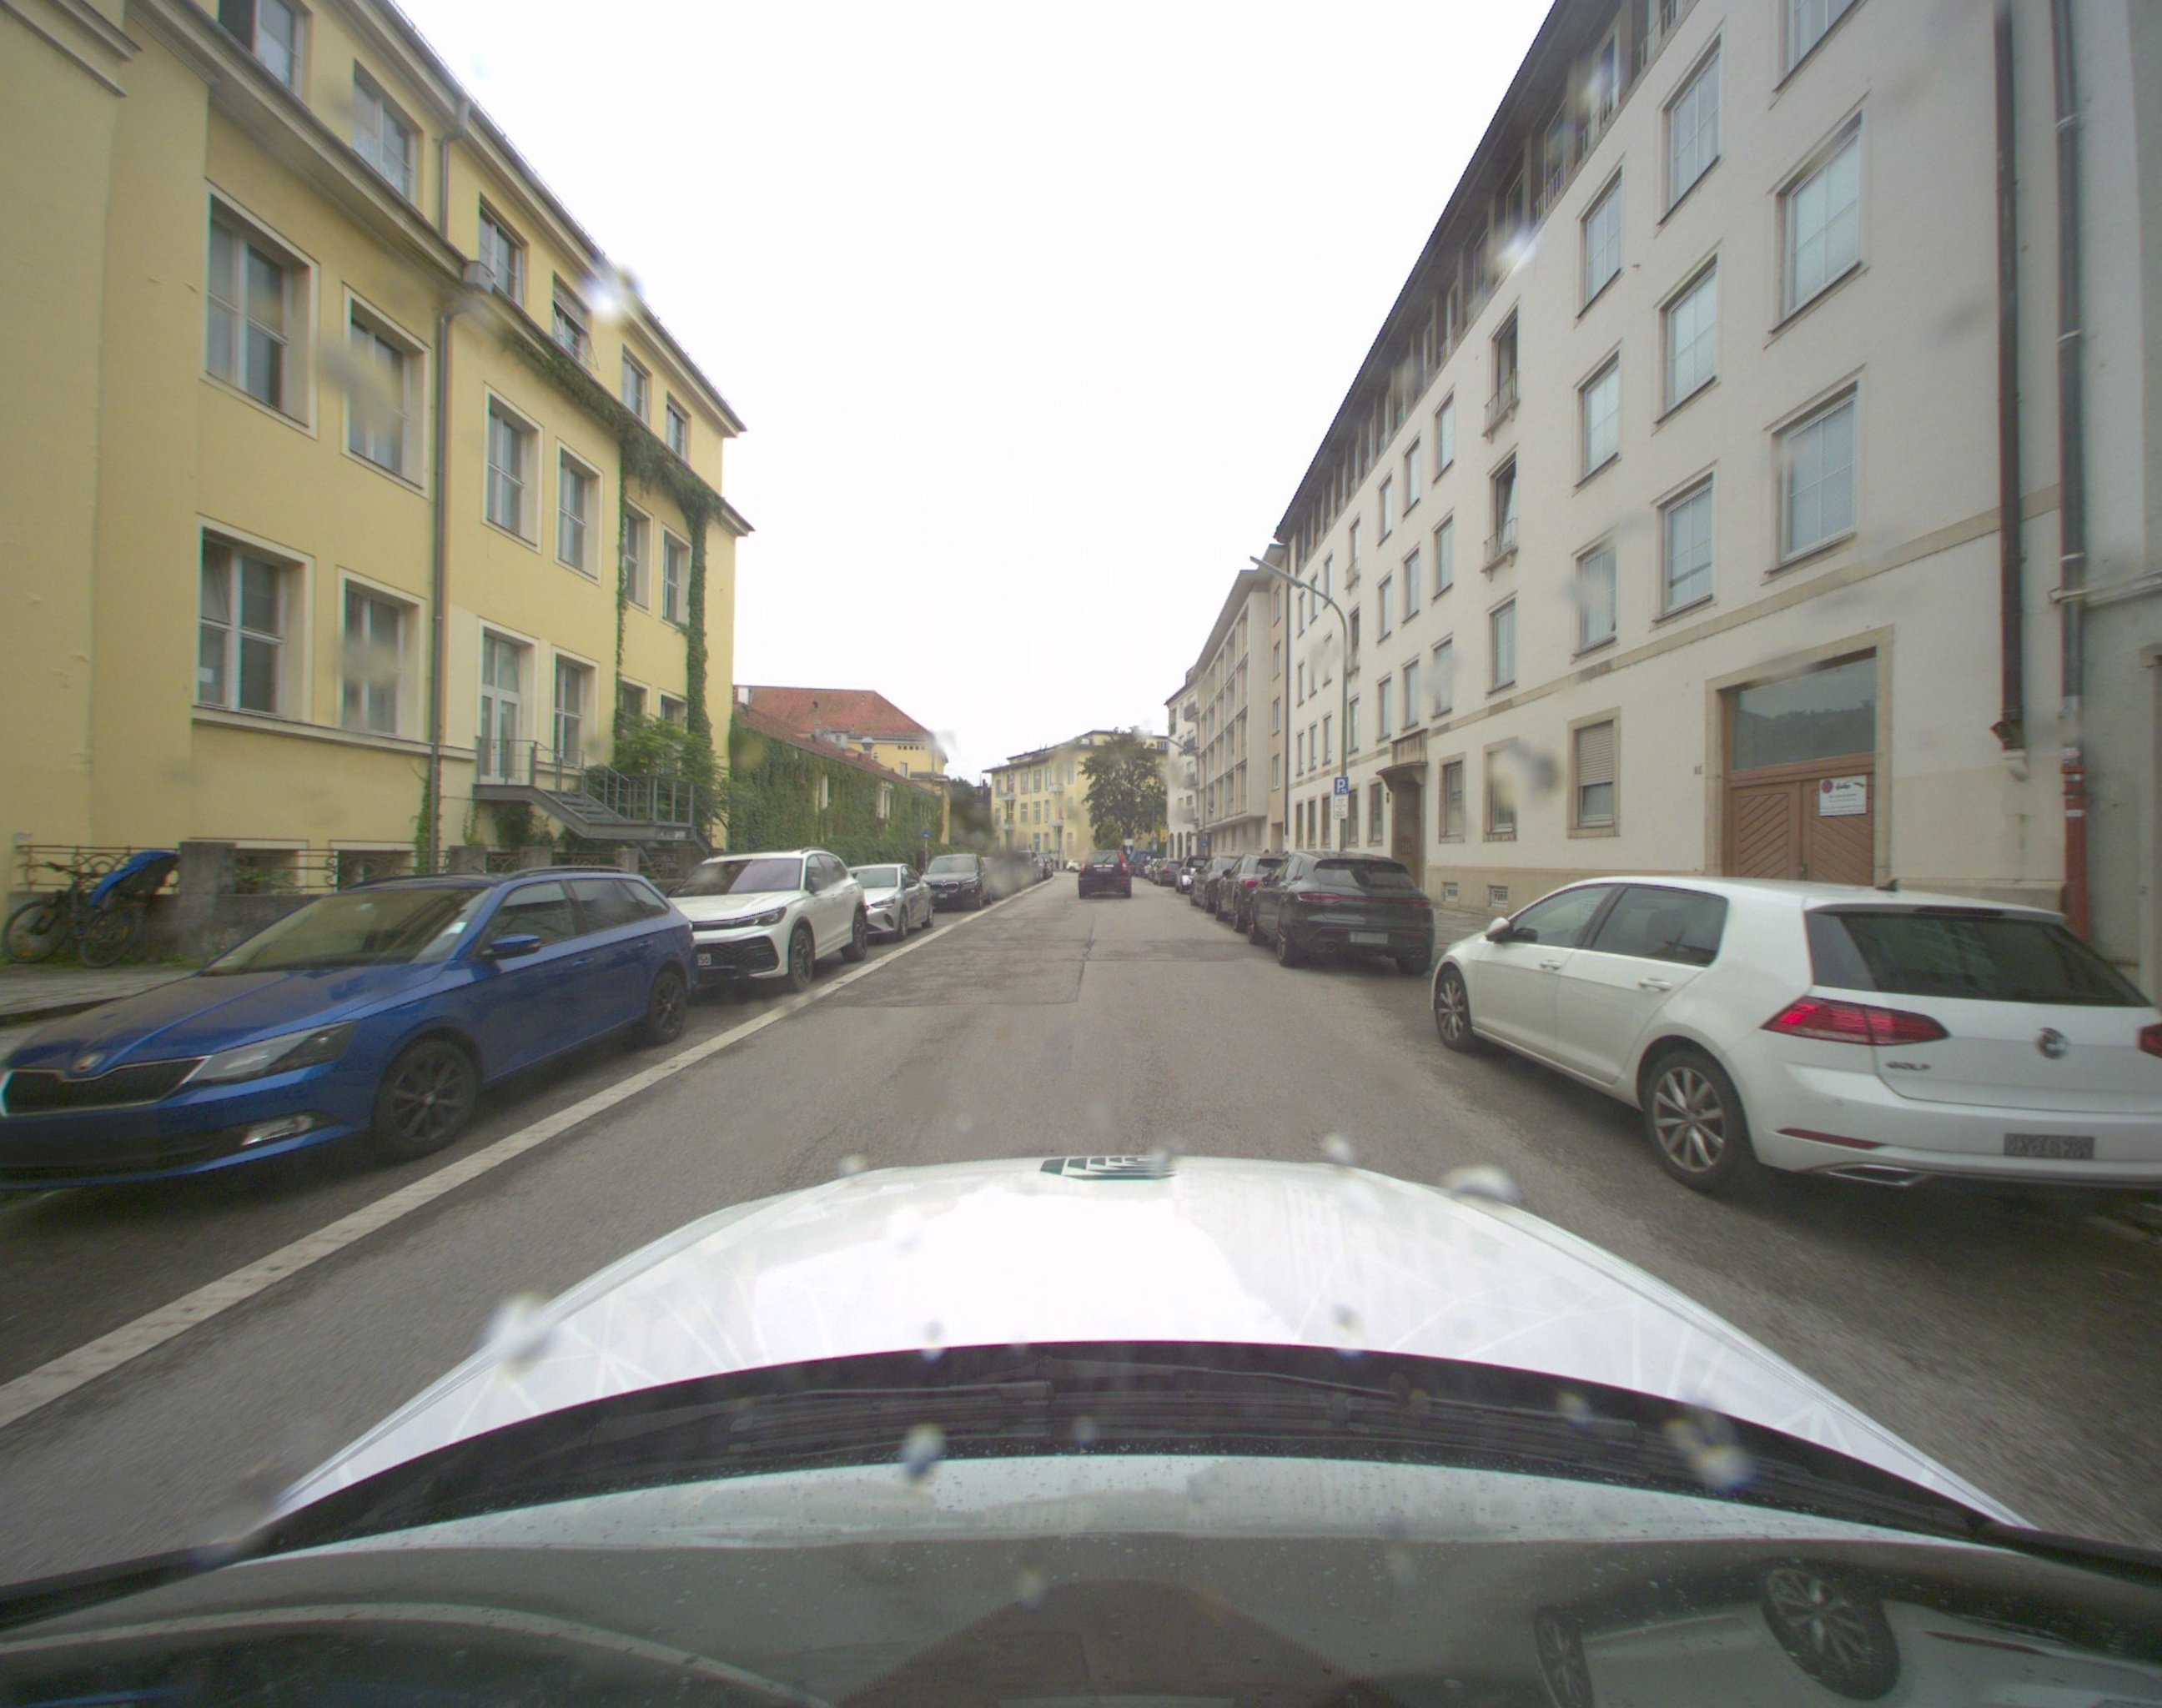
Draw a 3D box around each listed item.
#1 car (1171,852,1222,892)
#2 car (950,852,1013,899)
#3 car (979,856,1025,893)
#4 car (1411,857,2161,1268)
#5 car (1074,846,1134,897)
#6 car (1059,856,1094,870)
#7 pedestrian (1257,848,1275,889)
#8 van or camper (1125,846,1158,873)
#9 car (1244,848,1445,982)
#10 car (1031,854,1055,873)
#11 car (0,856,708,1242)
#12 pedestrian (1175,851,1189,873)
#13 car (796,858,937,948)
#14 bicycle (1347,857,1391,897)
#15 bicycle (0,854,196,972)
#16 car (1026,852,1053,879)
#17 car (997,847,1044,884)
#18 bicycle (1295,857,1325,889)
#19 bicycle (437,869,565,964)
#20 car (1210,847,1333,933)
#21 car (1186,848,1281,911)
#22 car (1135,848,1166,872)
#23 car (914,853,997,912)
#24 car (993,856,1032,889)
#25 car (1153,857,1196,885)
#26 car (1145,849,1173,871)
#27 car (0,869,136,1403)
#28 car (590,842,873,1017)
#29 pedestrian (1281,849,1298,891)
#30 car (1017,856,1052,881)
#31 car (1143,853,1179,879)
[{"bbox_3d":[4.665,0.683,33.401,1.665,1.535,3.883,0,0,2],"label":"car"},{"bbox_3d":[-3.517,0.718,29.359,1.776,1.538,4.148,0,0,-1],"label":"car"},{"bbox_3d":[-3.275,0.822,34.304,1.573,1.455,3.903,0,0,-1],"label":"car"},{"bbox_3d":[3.690,0.797,5.106,1.685,1.463,4.085,2,0,2],"label":"car"},{"bbox_3d":[0.863,0.570,29.262,1.987,1.694,4.383,-1,0,2],"label":"car"},{"bbox_3d":[-0.575,1.094,101.605,3.950,1.618,2.012,0,0,28],"label":"car"},{"bbox_3d":[7.412,0.571,32.706,0.594,1.654,0.631,0,0,1],"label":"pedestrian"},{"bbox_3d":[5.212,0.462,70.629,2.057,2.231,5.429,0,0,-5],"label":"van or camper"},{"bbox_3d":[3.659,0.739,12.143,1.771,1.584,4.333,2,0,3],"label":"car"},{"bbox_3d":[-2.815,0.711,60.989,1.614,1.378,4.072,0,0,0],"label":"car"},{"bbox_3d":[-4.209,0.816,5.336,1.675,1.505,3.972,-3,0,-1],"label":"car"},{"bbox_3d":[7.787,0.596,62.753,0.895,1.687,1.319,-1,-1,0],"label":"pedestrian"},{"bbox_3d":[-3.984,0.835,15.774,1.675,1.426,3.893,-2,0,-1],"label":"car"},{"bbox_3d":[8.592,0.653,24.388,0.656,1.126,2.029,-1,0,2],"label":"bicycle"},{"bbox_3d":[-10.859,0.630,8.956,1.552,1.189,0.578,3,0,0],"label":"bicycle"},{"bbox_3d":[-2.784,0.740,55.548,1.614,1.730,4.424,-1,0,0],"label":"car"},{"bbox_3d":[-3.261,0.588,44.765,1.986,1.875,4.761,0,0,2],"label":"car"},{"bbox_3d":[8.868,0.718,31.593,0.656,1.163,2.029,-1,0,2],"label":"bicycle"},{"bbox_3d":[-8.095,0.831,11.456,0.574,1.189,1.562,3,0,2],"label":"bicycle"},{"bbox_3d":[3.919,0.664,17.463,1.771,1.584,4.274,-1,0,2],"label":"car"},{"bbox_3d":[4.113,0.616,22.740,1.849,1.544,4.817,-1,0,1],"label":"car"},{"bbox_3d":[5.459,0.411,64.811,1.958,1.816,4.934,0,0,-1],"label":"car"},{"bbox_3d":[-3.567,0.761,23.791,1.776,1.538,4.194,-1,0,-1],"label":"car"},{"bbox_3d":[-3.270,0.848,39.441,1.573,1.492,3.729,0,0,-1],"label":"car"},{"bbox_3d":[4.928,0.870,43.373,1.790,1.420,4.482,1,0,0],"label":"car"},{"bbox_3d":[5.635,0.436,59.418,1.732,1.537,4.275,0,0,1],"label":"car"},{"bbox_3d":[-3.945,0.845,0.623,1.674,1.495,3.986,-3,0,1],"label":"car"},{"bbox_3d":[-3.983,0.728,10.185,1.675,1.634,4.354,-3,0,-2],"label":"car"},{"bbox_3d":[7.818,0.598,30.571,0.529,1.584,0.560,0,0,1],"label":"pedestrian"},{"bbox_3d":[-2.839,0.853,50.577,1.694,1.422,4.427,0,0,2],"label":"car"},{"bbox_3d":[4.796,0.693,49.330,1.733,1.499,4.218,0,0,0],"label":"car"}]
